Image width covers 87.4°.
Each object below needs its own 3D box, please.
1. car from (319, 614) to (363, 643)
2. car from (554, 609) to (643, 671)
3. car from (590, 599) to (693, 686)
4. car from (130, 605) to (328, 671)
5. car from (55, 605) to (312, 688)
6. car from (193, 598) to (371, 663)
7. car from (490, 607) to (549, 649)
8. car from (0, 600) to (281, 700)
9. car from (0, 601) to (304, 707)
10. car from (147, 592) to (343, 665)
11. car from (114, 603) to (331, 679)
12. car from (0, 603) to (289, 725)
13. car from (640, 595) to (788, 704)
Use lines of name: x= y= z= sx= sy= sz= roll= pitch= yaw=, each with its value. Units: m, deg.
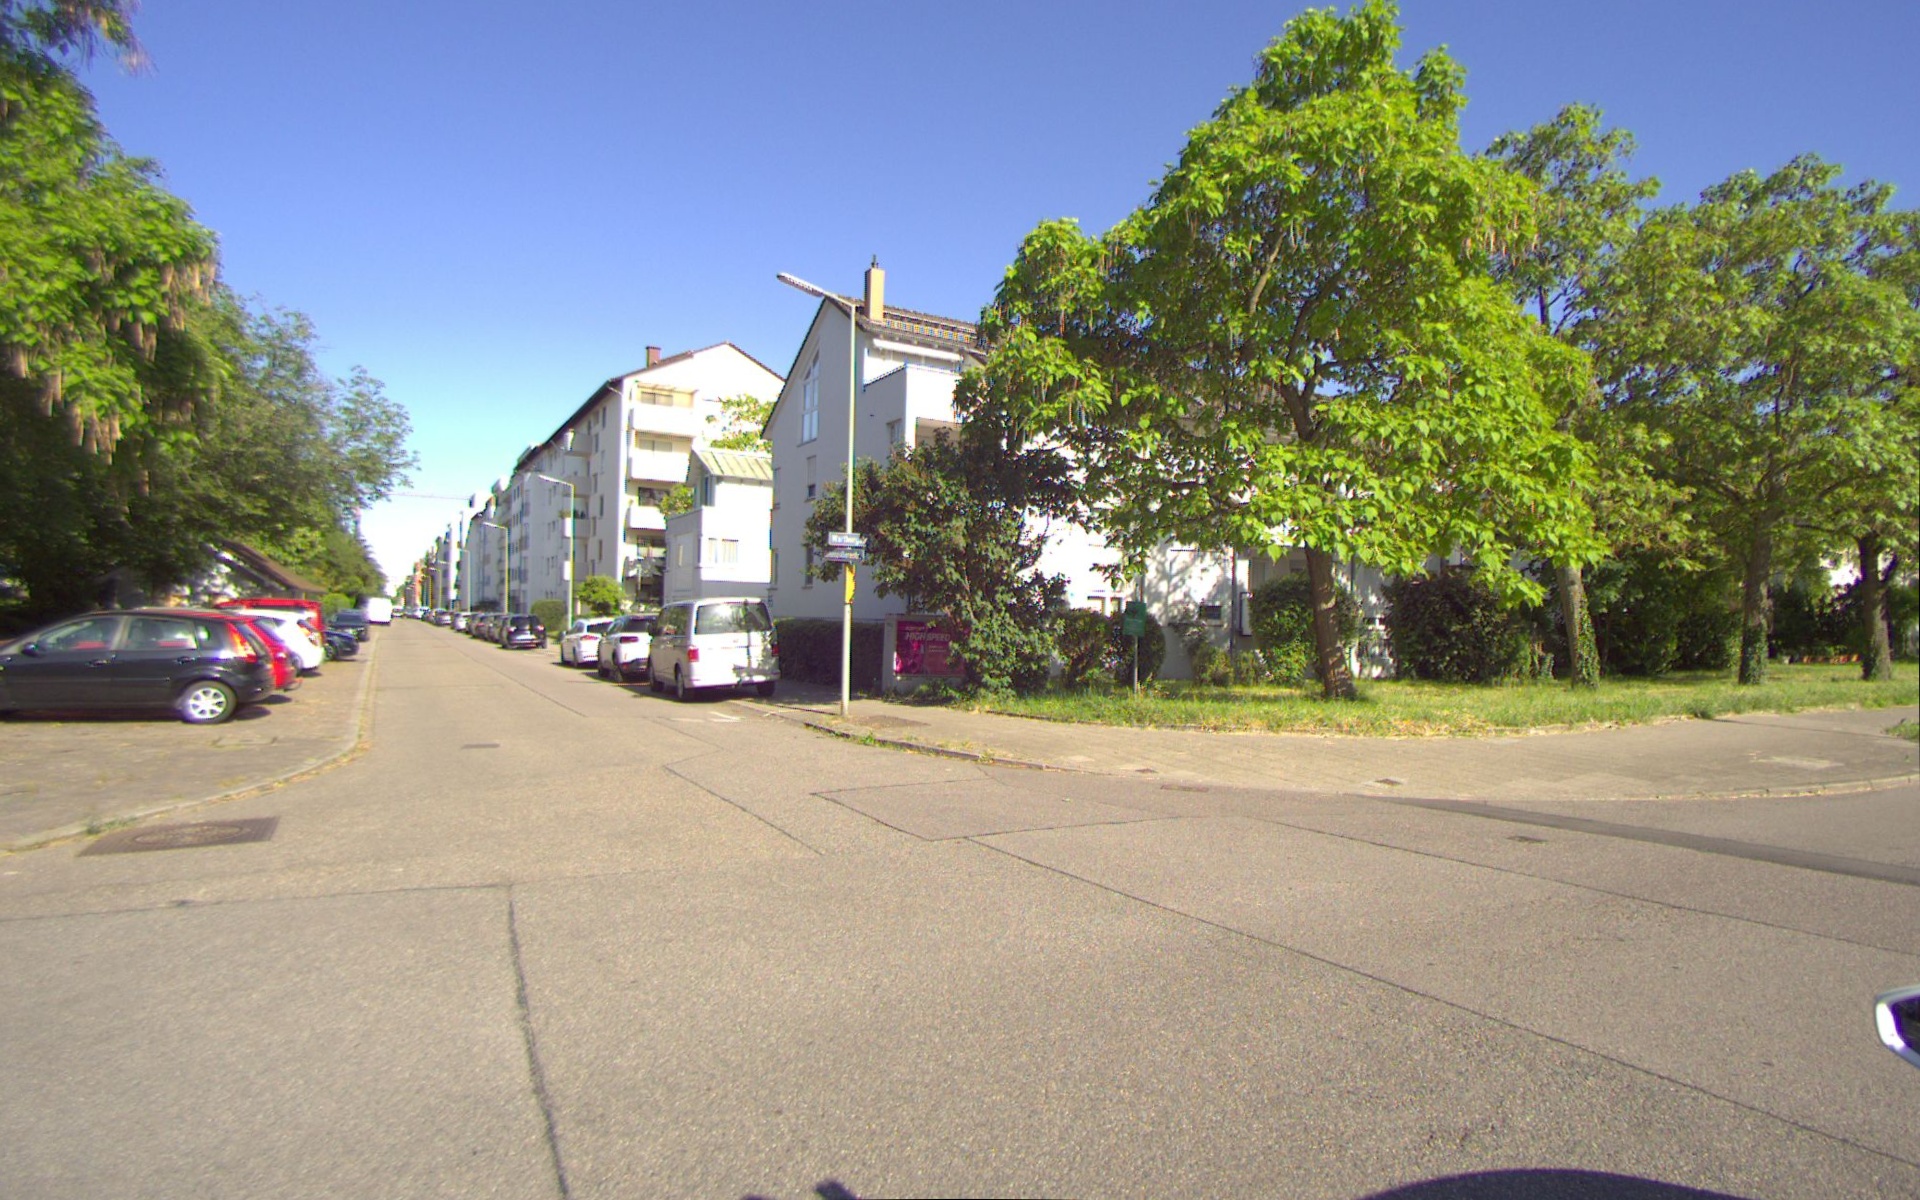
car: x=-31.803 y=1.428 z=51.709 sx=1.749 sy=1.438 sz=3.870 roll=1 pitch=-1 yaw=-29
car: x=-11.428 y=1.213 z=31.589 sx=1.900 sy=1.806 sz=4.062 roll=1 pitch=-1 yaw=-31
car: x=-8.225 y=1.032 z=25.728 sx=1.912 sy=2.024 sz=3.973 roll=1 pitch=-1 yaw=-26
car: x=-18.346 y=0.974 z=25.433 sx=3.842 sy=1.506 sz=1.661 roll=3 pitch=-2 yaw=-32
car: x=-15.362 y=0.950 z=20.168 sx=3.842 sy=1.506 sz=1.661 roll=3 pitch=-2 yaw=-32
car: x=-20.454 y=0.948 z=30.555 sx=4.307 sy=1.794 sz=1.661 roll=3 pitch=-2 yaw=-32
car: x=-19.992 y=1.251 z=45.501 sx=1.977 sy=1.806 sz=3.967 roll=1 pitch=-1 yaw=-31
car: x=-14.585 y=0.907 z=18.000 sx=3.842 sy=1.624 sz=1.661 roll=3 pitch=-2 yaw=-32
car: x=-12.796 y=0.866 z=15.963 sx=3.842 sy=1.506 sz=1.661 roll=3 pitch=-2 yaw=-32
car: x=-20.015 y=0.836 z=28.363 sx=4.307 sy=1.831 sz=1.661 roll=3 pitch=-2 yaw=-32
car: x=-16.887 y=0.968 z=23.255 sx=3.842 sy=1.577 sz=1.661 roll=3 pitch=-2 yaw=-32
car: x=-11.500 y=0.852 z=13.622 sx=3.842 sy=1.506 sz=1.661 roll=3 pitch=-2 yaw=-32
car: x=-5.231 y=0.953 z=20.889 sx=2.042 sy=1.995 sz=4.435 roll=0 pitch=-1 yaw=-27
